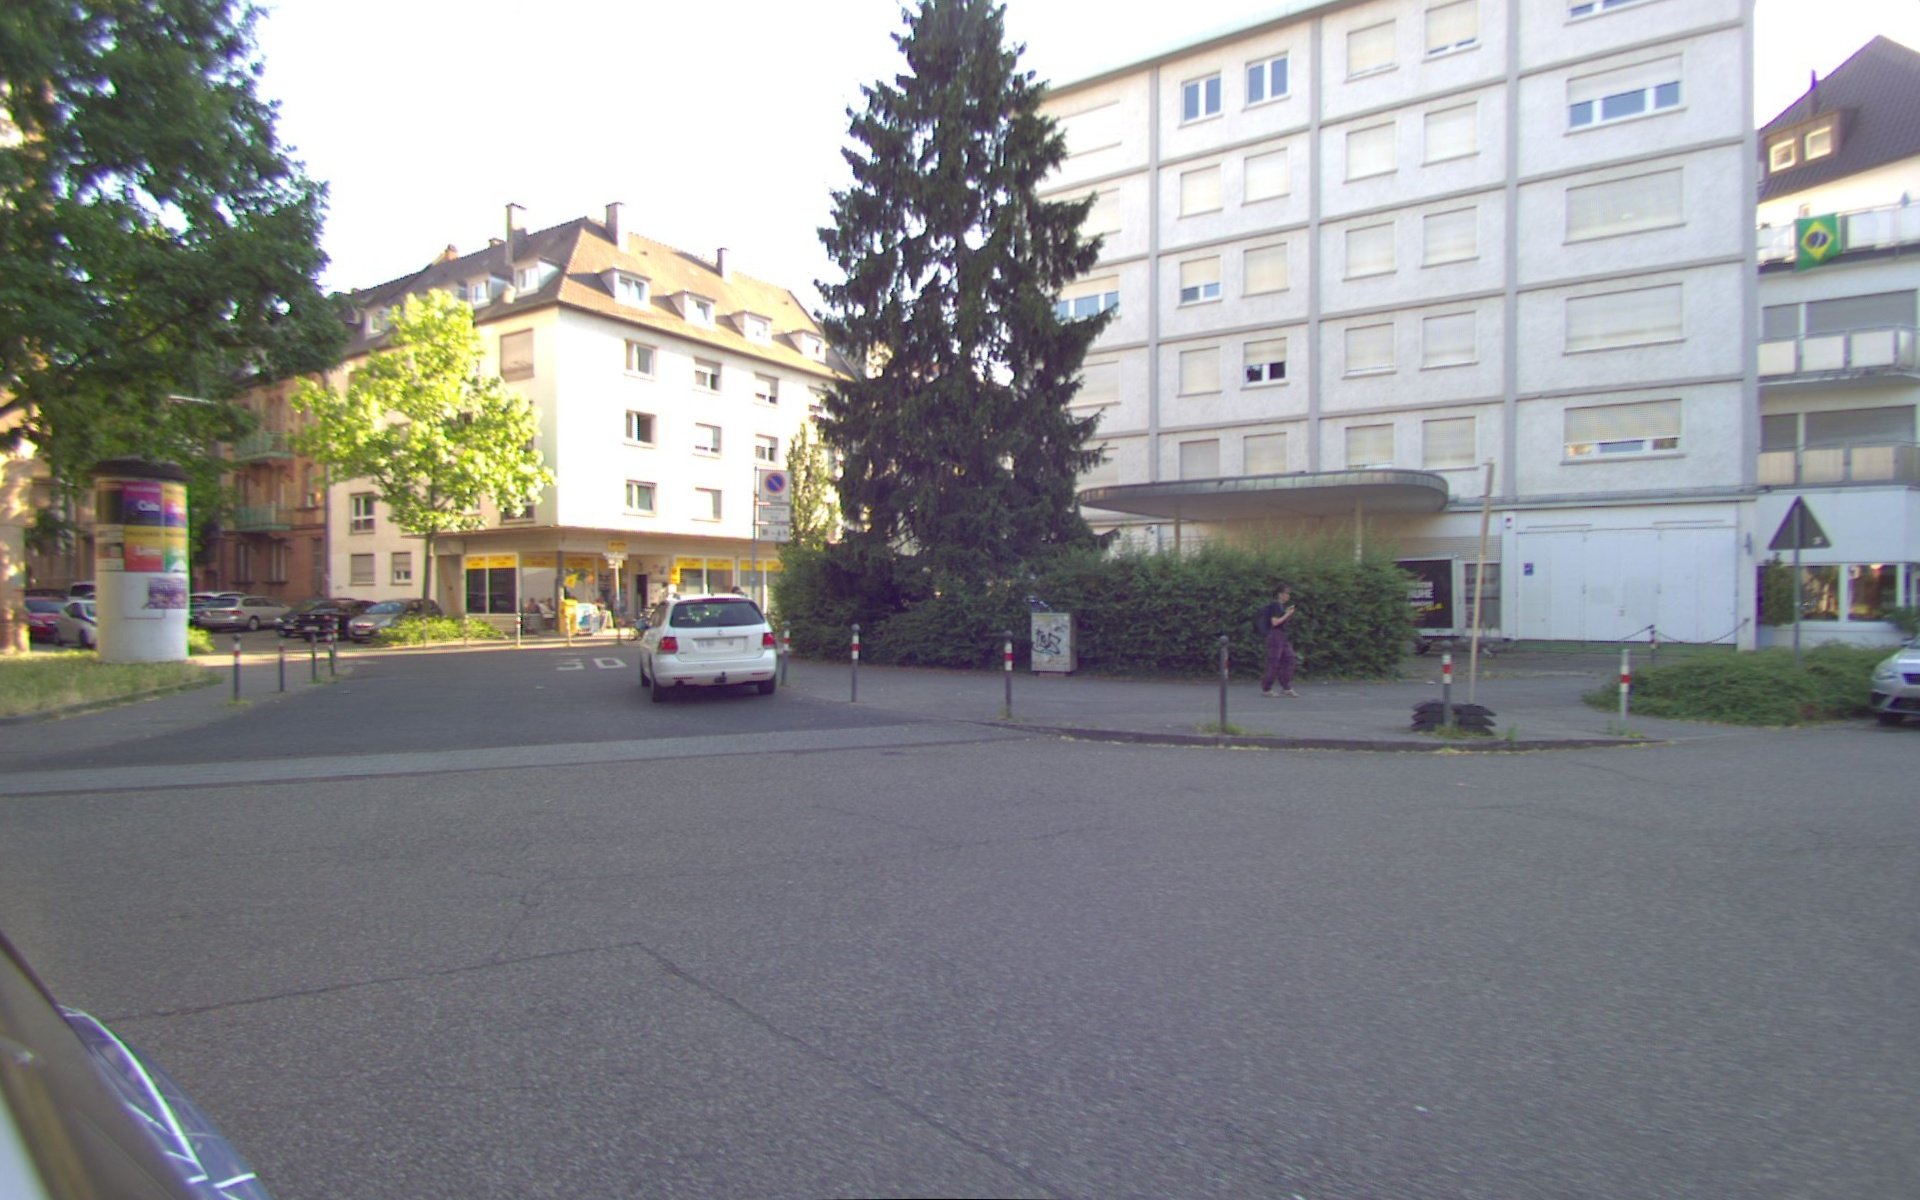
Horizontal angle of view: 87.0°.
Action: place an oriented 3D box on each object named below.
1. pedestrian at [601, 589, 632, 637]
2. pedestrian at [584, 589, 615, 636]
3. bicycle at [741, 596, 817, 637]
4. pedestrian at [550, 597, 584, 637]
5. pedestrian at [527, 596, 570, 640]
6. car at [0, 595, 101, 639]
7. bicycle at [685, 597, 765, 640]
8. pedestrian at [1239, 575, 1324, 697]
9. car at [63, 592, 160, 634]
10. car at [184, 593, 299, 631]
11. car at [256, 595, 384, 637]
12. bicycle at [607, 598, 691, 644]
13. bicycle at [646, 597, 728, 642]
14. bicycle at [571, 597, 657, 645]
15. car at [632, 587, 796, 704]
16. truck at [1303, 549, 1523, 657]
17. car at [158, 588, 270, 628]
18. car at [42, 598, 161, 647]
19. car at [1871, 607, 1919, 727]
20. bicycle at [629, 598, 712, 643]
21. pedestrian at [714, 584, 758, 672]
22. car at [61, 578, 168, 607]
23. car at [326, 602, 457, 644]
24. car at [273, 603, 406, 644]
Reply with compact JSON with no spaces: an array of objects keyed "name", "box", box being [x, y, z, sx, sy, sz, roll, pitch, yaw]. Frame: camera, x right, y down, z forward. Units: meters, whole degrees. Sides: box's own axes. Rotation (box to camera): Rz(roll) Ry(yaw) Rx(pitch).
[{"name":"pedestrian","box":[-13.876,0.518,40.875,0.849,1.889,0.881,-1,0,33]},{"name":"pedestrian","box":[-14.696,0.496,41.285,0.849,1.889,0.881,-1,0,33]},{"name":"bicycle","box":[-7.124,0.623,39.714,3.373,1.456,0.870,2,1,36]},{"name":"pedestrian","box":[-15.763,0.684,40.569,0.889,1.581,0.953,-1,0,34]},{"name":"pedestrian","box":[-15.974,0.672,39.294,0.961,1.679,1.201,-1,0,34]},{"name":"car","box":[-30.537,0.548,33.832,3.990,1.410,1.851,-1,0,35]},{"name":"bicycle","box":[-8.714,0.661,37.413,3.373,1.456,0.870,2,1,36]},{"name":"pedestrian","box":[4.782,0.510,15.063,0.855,1.749,0.834,0,1,-24]},{"name":"car","box":[-35.028,0.516,41.743,4.522,1.660,1.920,-1,0,34]},{"name":"car","box":[-30.136,0.478,42.576,1.849,1.516,3.995,0,0,4]},{"name":"car","box":[-24.930,0.598,39.564,1.858,1.580,3.976,0,0,18]},{"name":"bicycle","box":[-10.416,0.680,33.810,3.373,1.456,0.870,1,0,36]},{"name":"bicycle","box":[-9.722,0.660,35.918,3.373,1.456,0.870,2,1,36]},{"name":"bicycle","box":[-11.221,0.657,32.754,3.373,1.456,0.870,1,0,36]},{"name":"car","box":[-3.832,0.585,15.215,1.890,1.461,4.309,-1,0,-20]},{"name":"truck","box":[11.654,0.080,26.159,4.958,2.554,1.977,0,0,33]},{"name":"car","box":[-32.693,0.349,44.496,1.849,1.648,3.995,0,0,4]},{"name":"car","box":[-26.386,0.657,31.073,3.990,1.410,1.851,-1,0,35]},{"name":"car","box":[13.688,0.802,12.939,3.931,1.457,1.722,0,-1,-27]},{"name":"bicycle","box":[-9.993,0.680,34.829,3.373,1.456,0.870,1,0,36]},{"name":"pedestrian","box":[-5.311,0.655,23.956,0.848,2.029,0.989,0,0,-23]},{"name":"car","box":[-42.171,-0.359,50.591,1.849,1.410,3.995,0,0,4]},{"name":"car","box":[-20.326,0.783,36.354,1.857,1.410,3.979,0,0,16]},{"name":"car","box":[-22.656,0.836,37.134,1.857,1.410,3.979,0,0,16]}]
